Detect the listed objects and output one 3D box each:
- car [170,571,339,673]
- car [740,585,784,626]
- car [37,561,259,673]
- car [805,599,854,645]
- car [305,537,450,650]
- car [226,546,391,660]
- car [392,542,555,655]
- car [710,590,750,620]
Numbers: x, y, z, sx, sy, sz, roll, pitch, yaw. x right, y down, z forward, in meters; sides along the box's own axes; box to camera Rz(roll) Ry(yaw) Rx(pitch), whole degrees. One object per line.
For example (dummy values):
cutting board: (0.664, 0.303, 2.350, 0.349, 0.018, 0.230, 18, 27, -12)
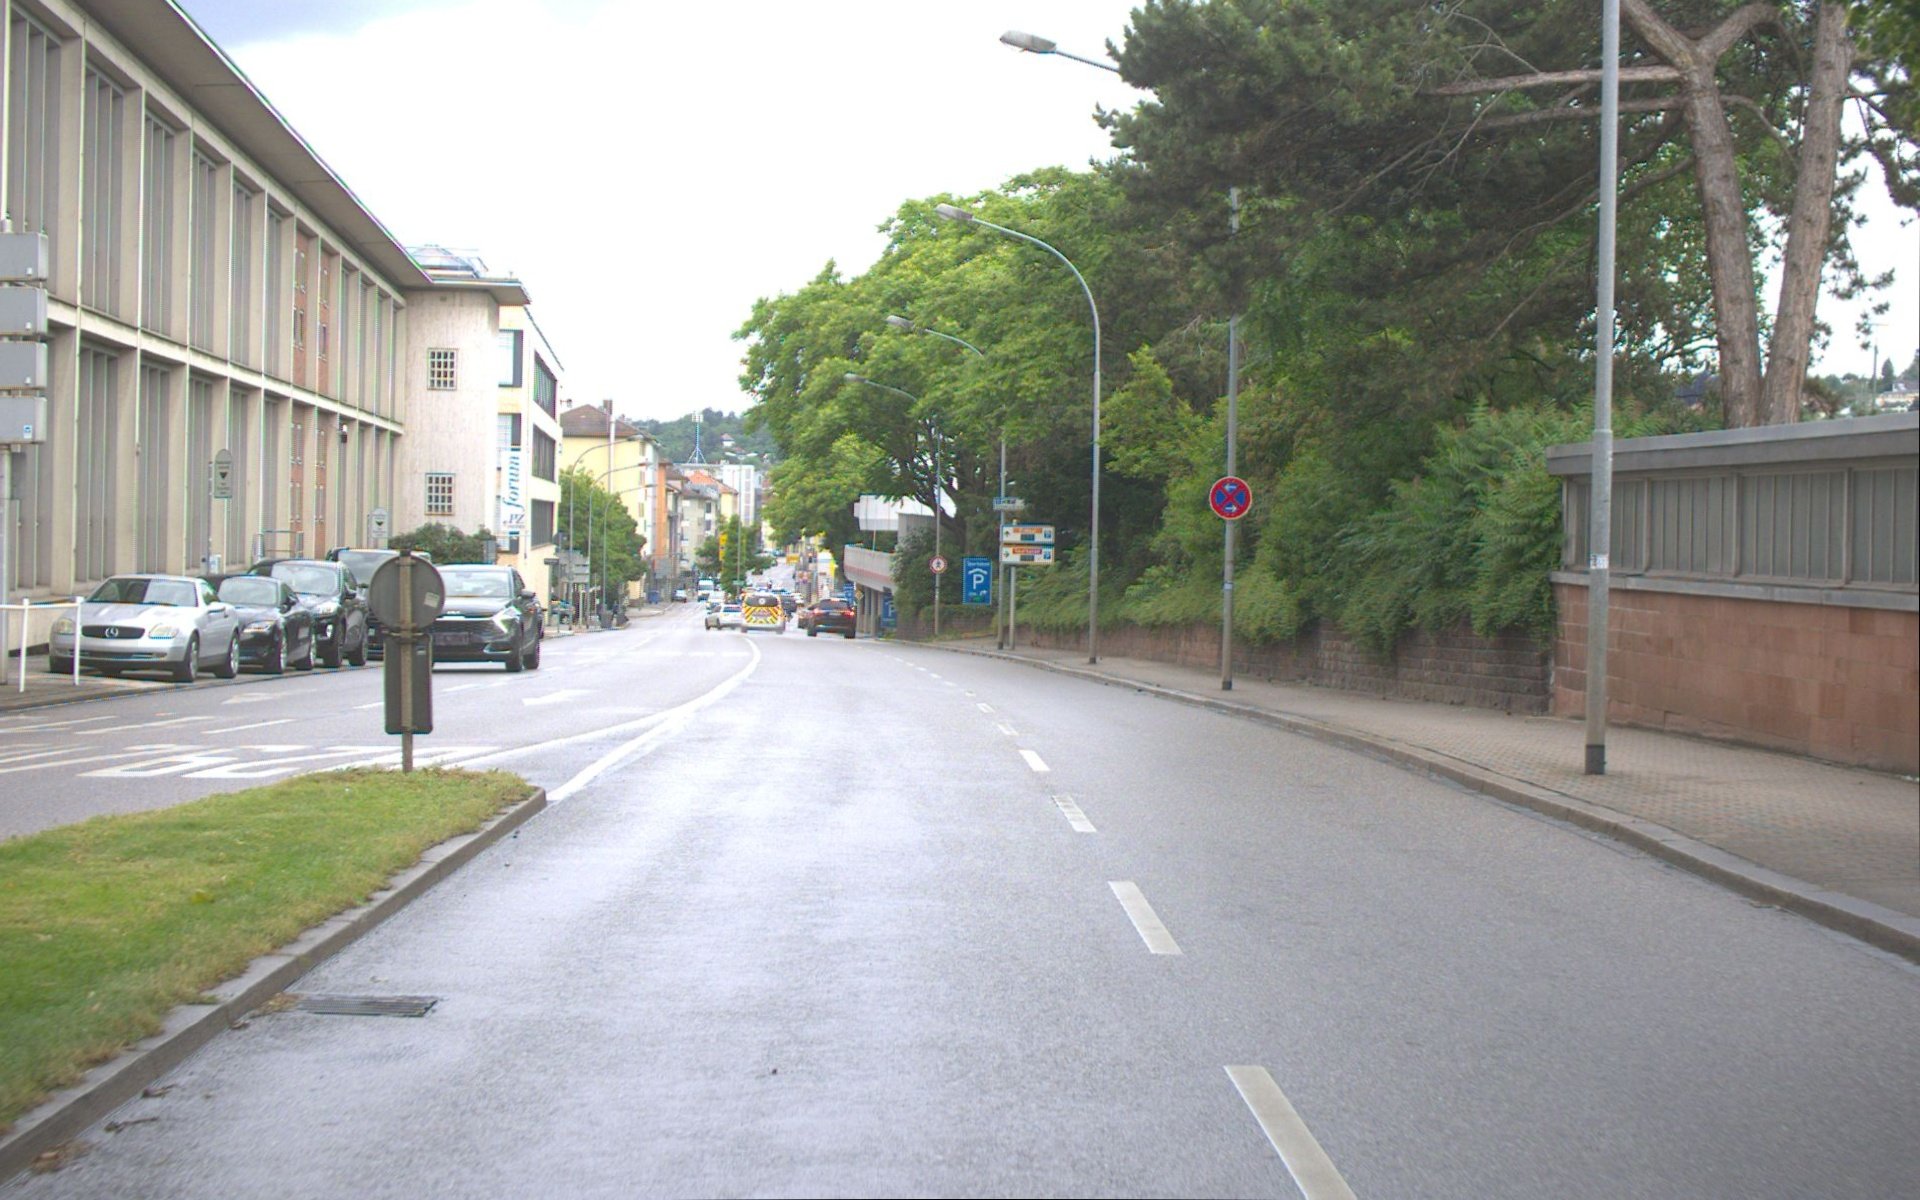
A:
car: (-9.915, 0.281, 48.562, 1.542, 1.349, 4.110, 1, 0, -1)
car: (-9.223, 0.239, 160.051, 1.993, 1.831, 4.001, -1, 1, -3)
car: (-10.034, 0.182, 42.771, 1.691, 1.293, 4.093, 2, 1, 1)
car: (-5.907, 0.974, 155.302, 2.091, 1.904, 4.100, -1, 1, -3)
car: (-10.508, -0.132, 62.321, 1.948, 1.937, 4.996, 1, 0, -2)
car: (-10.171, 0.025, 53.935, 1.797, 1.670, 4.604, 1, 0, -2)
car: (-7.353, -0.049, 52.314, 1.821, 1.655, 4.337, 0, 1, 1)
car: (-13.546, 0.295, 201.961, 1.993, 1.674, 4.001, 0, 1, -9)
